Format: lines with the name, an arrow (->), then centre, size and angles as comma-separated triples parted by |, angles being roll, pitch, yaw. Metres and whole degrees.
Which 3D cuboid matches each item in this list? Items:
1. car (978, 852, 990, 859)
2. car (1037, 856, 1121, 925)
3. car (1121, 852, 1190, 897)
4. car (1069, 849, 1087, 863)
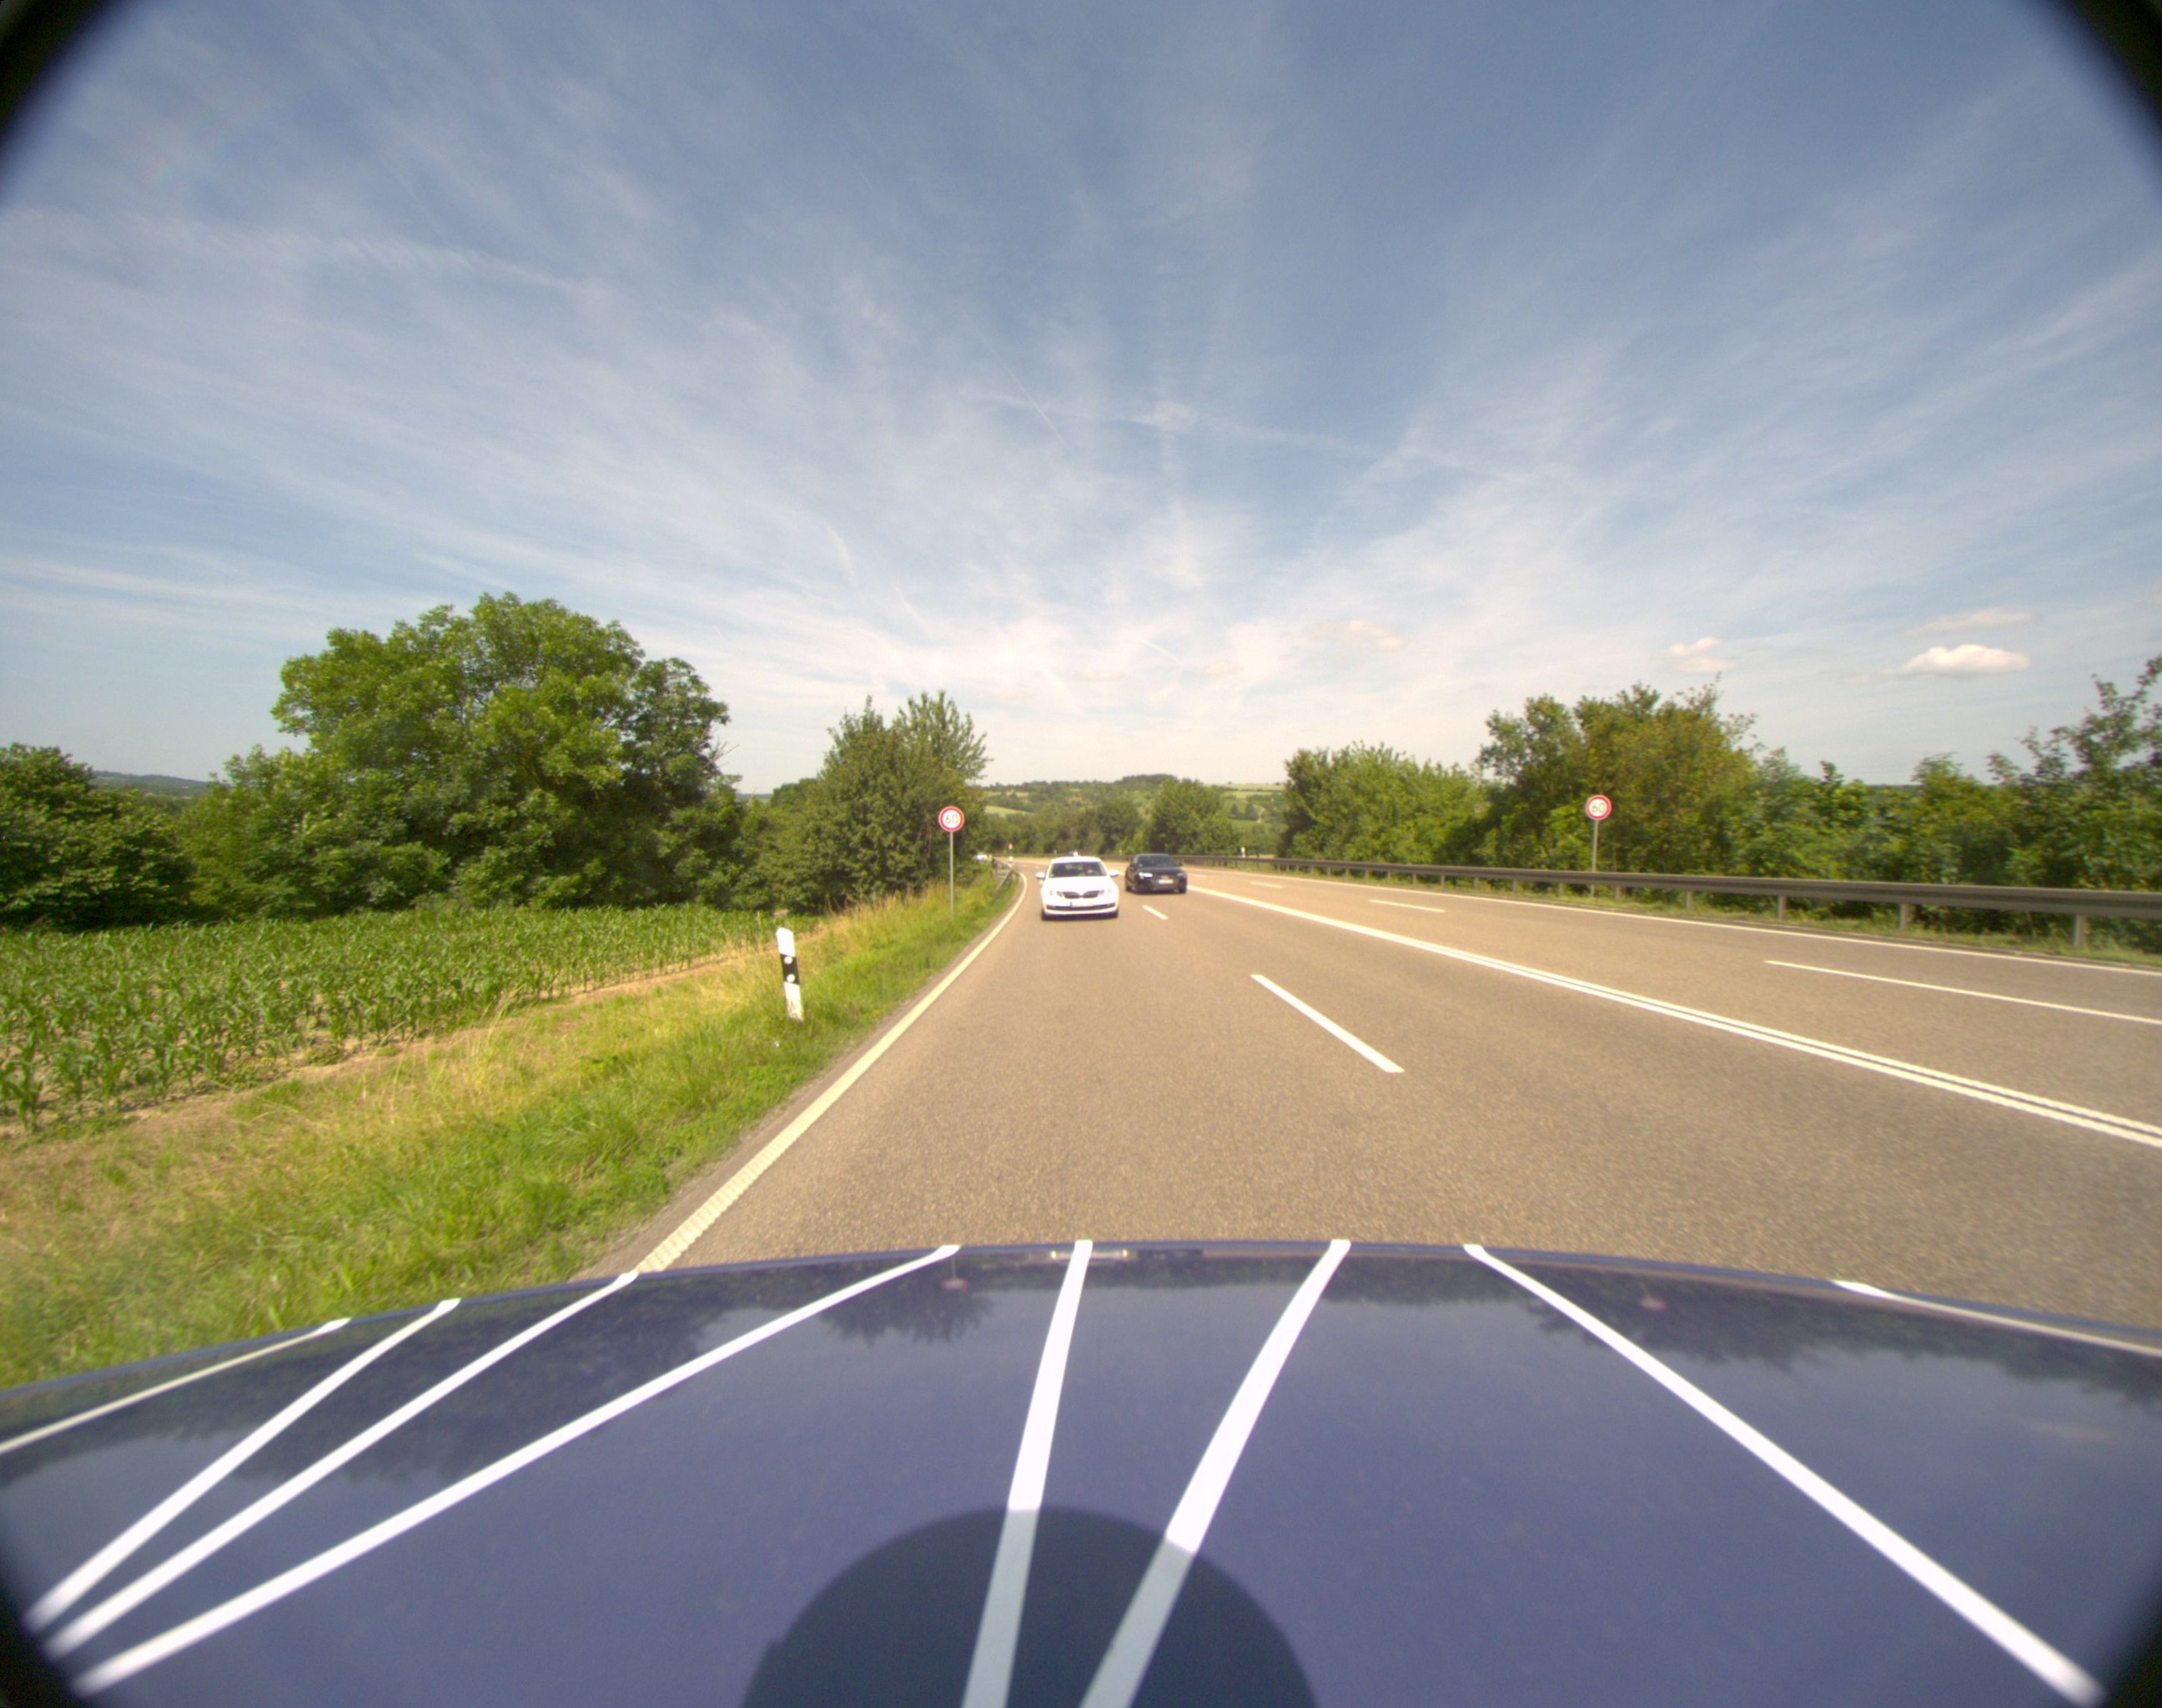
car -> -18.413, 0.282, 144.228 | 1.709, 1.368, 4.597 | -1, 0, -13
car -> -0.095, 0.823, 19.201 | 1.825, 1.463, 4.788 | -2, 0, -1
car -> 2.650, 0.687, 28.224 | 1.710, 1.464, 4.809 | -1, 0, -4
car -> -0.401, 0.271, 101.162 | 1.795, 1.797, 3.997 | -2, 1, -8
